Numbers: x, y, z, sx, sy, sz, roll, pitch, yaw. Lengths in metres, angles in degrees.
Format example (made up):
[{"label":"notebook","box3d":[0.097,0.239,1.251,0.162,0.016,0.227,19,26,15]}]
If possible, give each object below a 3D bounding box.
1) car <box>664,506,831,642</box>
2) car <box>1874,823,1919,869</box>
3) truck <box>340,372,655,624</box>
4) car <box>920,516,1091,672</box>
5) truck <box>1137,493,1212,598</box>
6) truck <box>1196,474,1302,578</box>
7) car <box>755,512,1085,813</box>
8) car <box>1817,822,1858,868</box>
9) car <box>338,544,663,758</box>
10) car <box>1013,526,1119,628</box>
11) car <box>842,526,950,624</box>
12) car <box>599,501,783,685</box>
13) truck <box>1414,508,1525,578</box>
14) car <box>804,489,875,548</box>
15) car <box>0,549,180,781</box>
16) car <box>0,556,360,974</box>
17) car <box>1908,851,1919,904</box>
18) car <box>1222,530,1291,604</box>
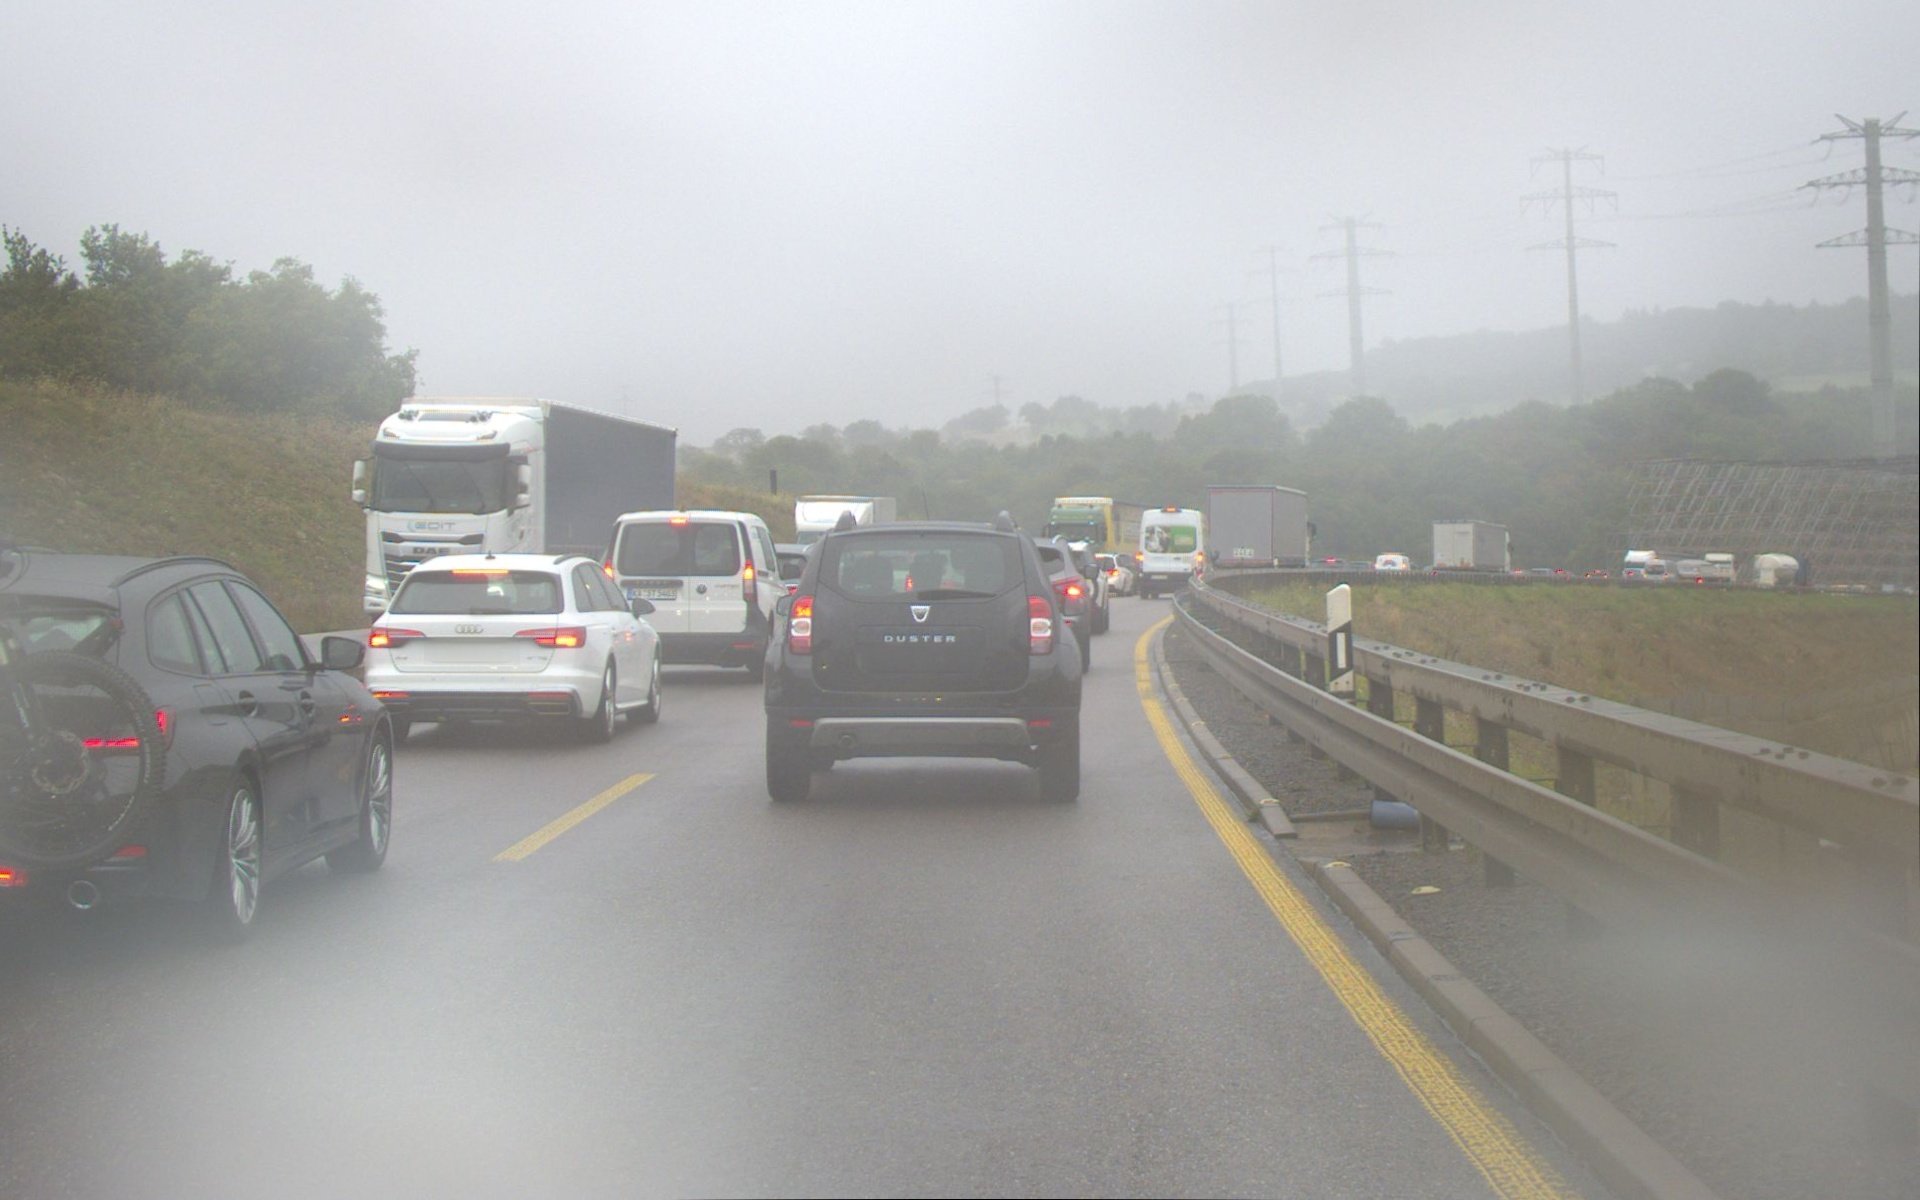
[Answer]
[{"label":"car","box3d":[-2.794,-0.370,45.956,1.867,1.702,4.092,1,1,1]},{"label":"car","box3d":[43.923,11.430,159.833,1.994,1.809,4.000,1,1,3]},{"label":"truck","box3d":[-8.253,-1.808,63.729,2.933,4.083,14.389,1,1,4]},{"label":"car","box3d":[0.510,-0.105,40.215,1.867,1.702,4.000,1,1,0]},{"label":"truck","box3d":[6.788,-1.710,108.199,2.149,3.155,6.458,1,1,5]},{"label":"truck","box3d":[11.070,-2.806,131.059,3.202,3.748,8.506,1,1,10]},{"label":"car","box3d":[-0.175,0.309,20.704,1.804,1.640,3.776,0,1,1]},{"label":"car","box3d":[45.859,12.786,179.724,1.995,2.007,3.997,2,1,14]},{"label":"car","box3d":[-3.437,0.325,26.515,1.867,1.455,4.549,1,1,0]},{"label":"car","box3d":[1.820,-0.415,58.058,1.531,1.635,4.012,1,1,5]},{"label":"car","box3d":[-1.131,-0.449,62.274,1.867,1.703,4.092,0,0,0]},{"label":"car","box3d":[-2.895,-0.114,37.646,1.660,1.873,4.020,1,1,0]},{"label":"truck","box3d":[32.077,-3.560,215.724,4.721,4.135,15.670,2,1,16]},{"label":"car","box3d":[-3.645,-2.463,104.512,1.867,1.576,4.091,2,-1,1]},{"label":"car","box3d":[-7.046,0.383,24.587,1.867,1.455,4.549,1,1,0]},{"label":"car","box3d":[-3.797,0.562,14.150,1.829,1.471,3.776,0,1,3]},{"label":"car","box3d":[40.996,11.609,142.462,2.365,2.007,4.000,1,1,1]},{"label":"car","box3d":[7.937,-0.911,92.233,1.775,1.909,4.000,1,1,4]}]
